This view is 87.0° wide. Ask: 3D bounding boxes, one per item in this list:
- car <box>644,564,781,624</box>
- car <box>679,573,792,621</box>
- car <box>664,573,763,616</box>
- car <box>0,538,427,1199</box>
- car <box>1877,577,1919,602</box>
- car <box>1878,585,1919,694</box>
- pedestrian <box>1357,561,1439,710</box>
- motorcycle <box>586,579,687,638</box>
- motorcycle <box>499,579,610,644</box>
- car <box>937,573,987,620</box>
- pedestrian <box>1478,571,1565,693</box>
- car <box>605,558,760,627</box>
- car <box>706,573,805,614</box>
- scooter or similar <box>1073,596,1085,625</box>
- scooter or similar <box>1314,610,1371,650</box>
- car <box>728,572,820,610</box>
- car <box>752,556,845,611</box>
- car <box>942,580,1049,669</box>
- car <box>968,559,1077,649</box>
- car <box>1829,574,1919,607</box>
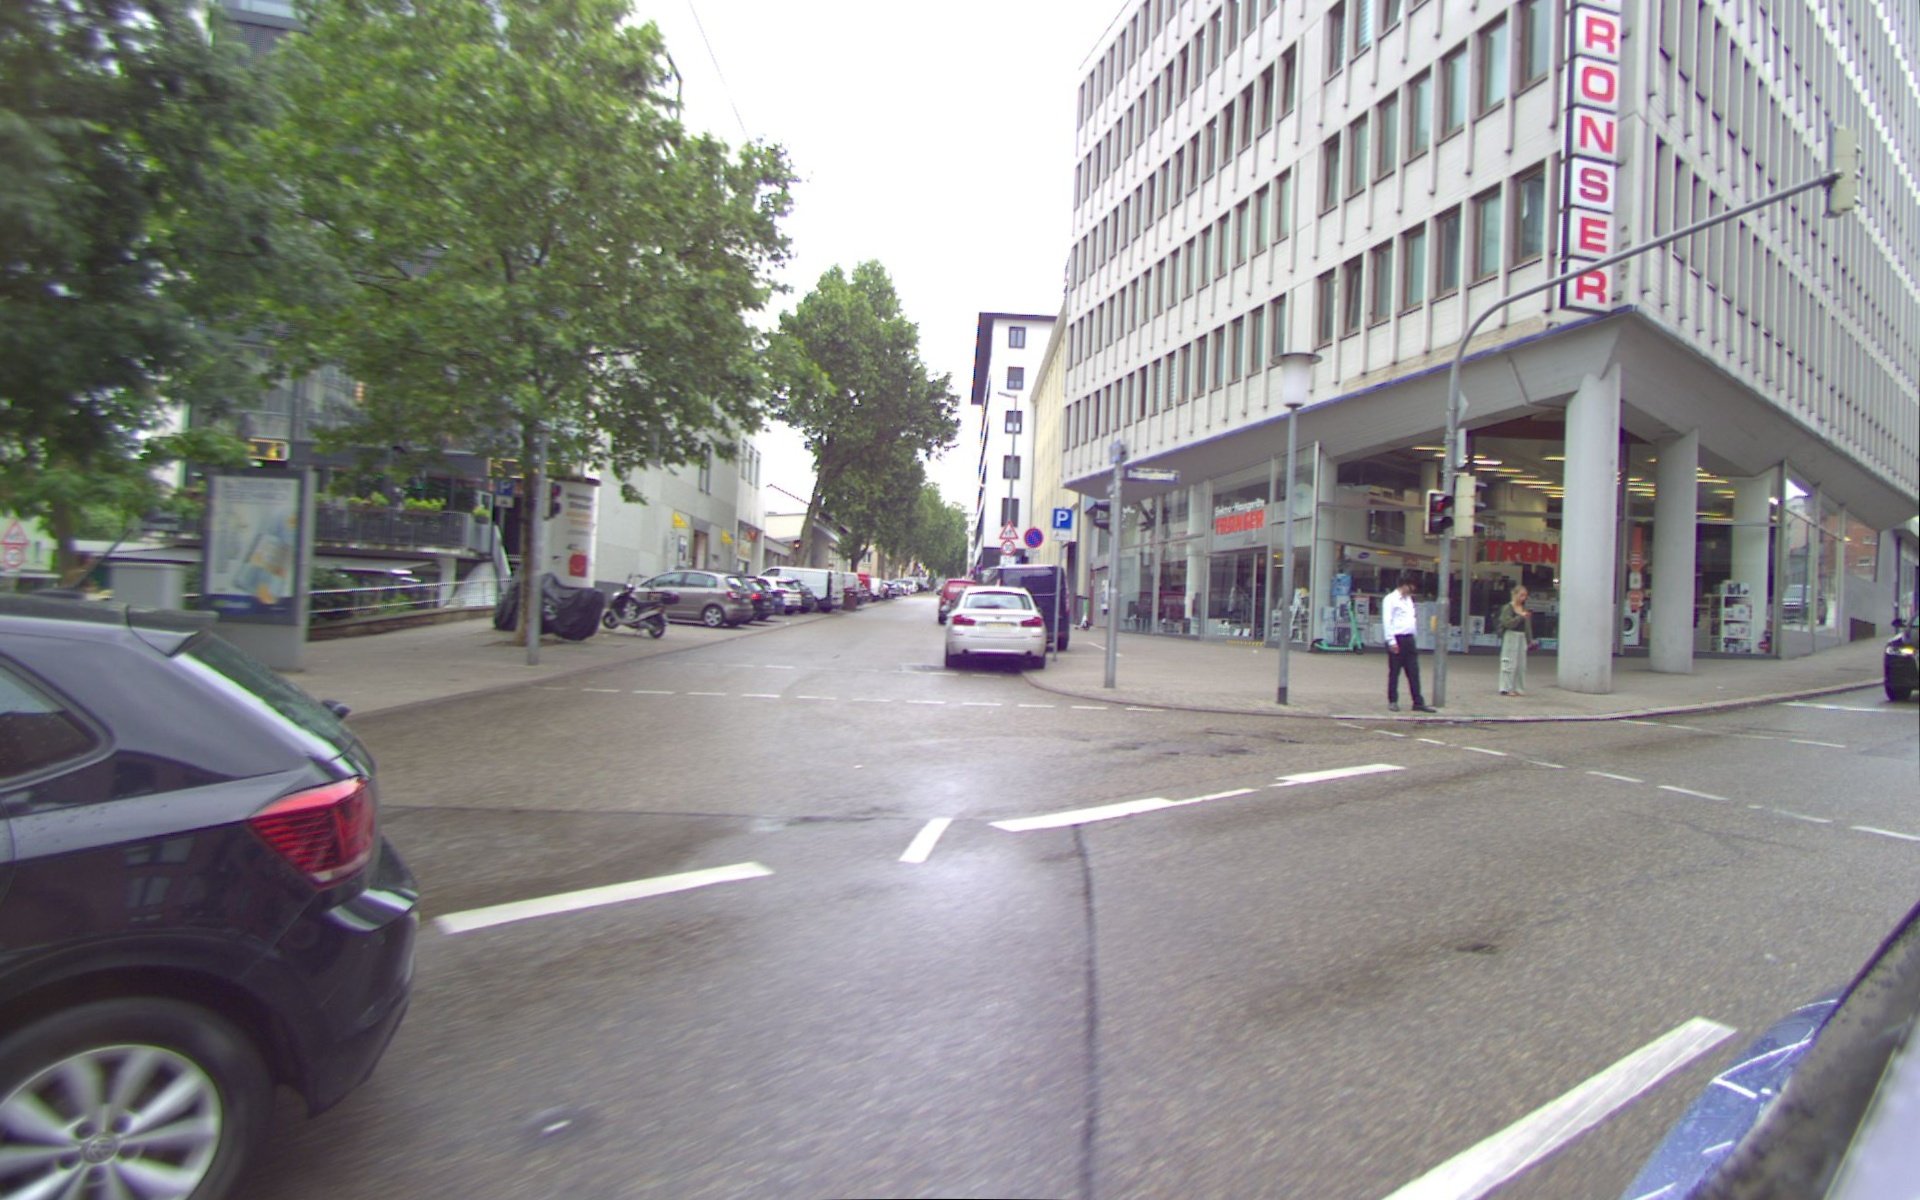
[{"bbox_3d":[-7.693,-0.207,31.558,3.786,1.572,1.621,4,2,14],"label":"car"},{"bbox_3d":[-7.733,-0.126,34.789,3.655,1.573,1.612,0,1,28],"label":"car"},{"bbox_3d":[-9.469,-0.233,38.810,3.660,1.573,1.610,0,1,31],"label":"car"},{"bbox_3d":[-3.303,0.645,1.789,3.928,1.495,1.692,-1,1,-39],"label":"car"},{"bbox_3d":[60.833,-0.684,63.511,1.963,1.523,4.533,-1,-1,-36],"label":"car"},{"bbox_3d":[15.828,0.548,15.203,4.117,1.580,1.830,0,-1,-30],"label":"car"},{"bbox_3d":[5.674,0.426,13.112,0.721,1.840,0.817,2,3,43],"label":"pedestrian"},{"bbox_3d":[-7.129,0.178,22.277,2.062,1.130,0.626,5,2,15],"label":"motorcycle"},{"bbox_3d":[-7.995,0.217,19.982,1.907,1.130,0.628,4,0,4],"label":"motorcycle"},{"bbox_3d":[0.042,-0.199,40.811,1.851,1.786,4.002,0,1,-2],"label":"car"},{"bbox_3d":[8.244,0.446,14.877,0.812,1.710,0.725,-1,3,-19],"label":"pedestrian"},{"bbox_3d":[-7.880,-0.212,28.883,3.869,1.655,1.625,4,0,6],"label":"car"},{"bbox_3d":[-8.233,-0.273,40.689,3.647,1.573,1.615,0,1,23],"label":"car"},{"bbox_3d":[4.177,0.358,35.584,0.215,1.012,0.816,0,1,-7],"label":"scooter or similar"},{"bbox_3d":[8.208,0.638,21.738,1.105,0.834,0.307,0,0,2],"label":"scooter or similar"},{"bbox_3d":[-8.031,-0.365,43.721,3.647,1.573,1.615,0,-1,23],"label":"car"},{"bbox_3d":[-7.357,-0.738,46.275,3.792,2.430,1.895,0,1,15],"label":"car"},{"bbox_3d":[0.633,0.380,19.713,1.822,1.513,4.851,0,1,1],"label":"car"},{"bbox_3d":[1.442,0.035,25.304,1.921,2.022,4.813,-1,1,-6],"label":"car"},{"bbox_3d":[44.888,-0.476,49.072,3.972,1.549,1.742,0,1,34],"label":"car"}]
